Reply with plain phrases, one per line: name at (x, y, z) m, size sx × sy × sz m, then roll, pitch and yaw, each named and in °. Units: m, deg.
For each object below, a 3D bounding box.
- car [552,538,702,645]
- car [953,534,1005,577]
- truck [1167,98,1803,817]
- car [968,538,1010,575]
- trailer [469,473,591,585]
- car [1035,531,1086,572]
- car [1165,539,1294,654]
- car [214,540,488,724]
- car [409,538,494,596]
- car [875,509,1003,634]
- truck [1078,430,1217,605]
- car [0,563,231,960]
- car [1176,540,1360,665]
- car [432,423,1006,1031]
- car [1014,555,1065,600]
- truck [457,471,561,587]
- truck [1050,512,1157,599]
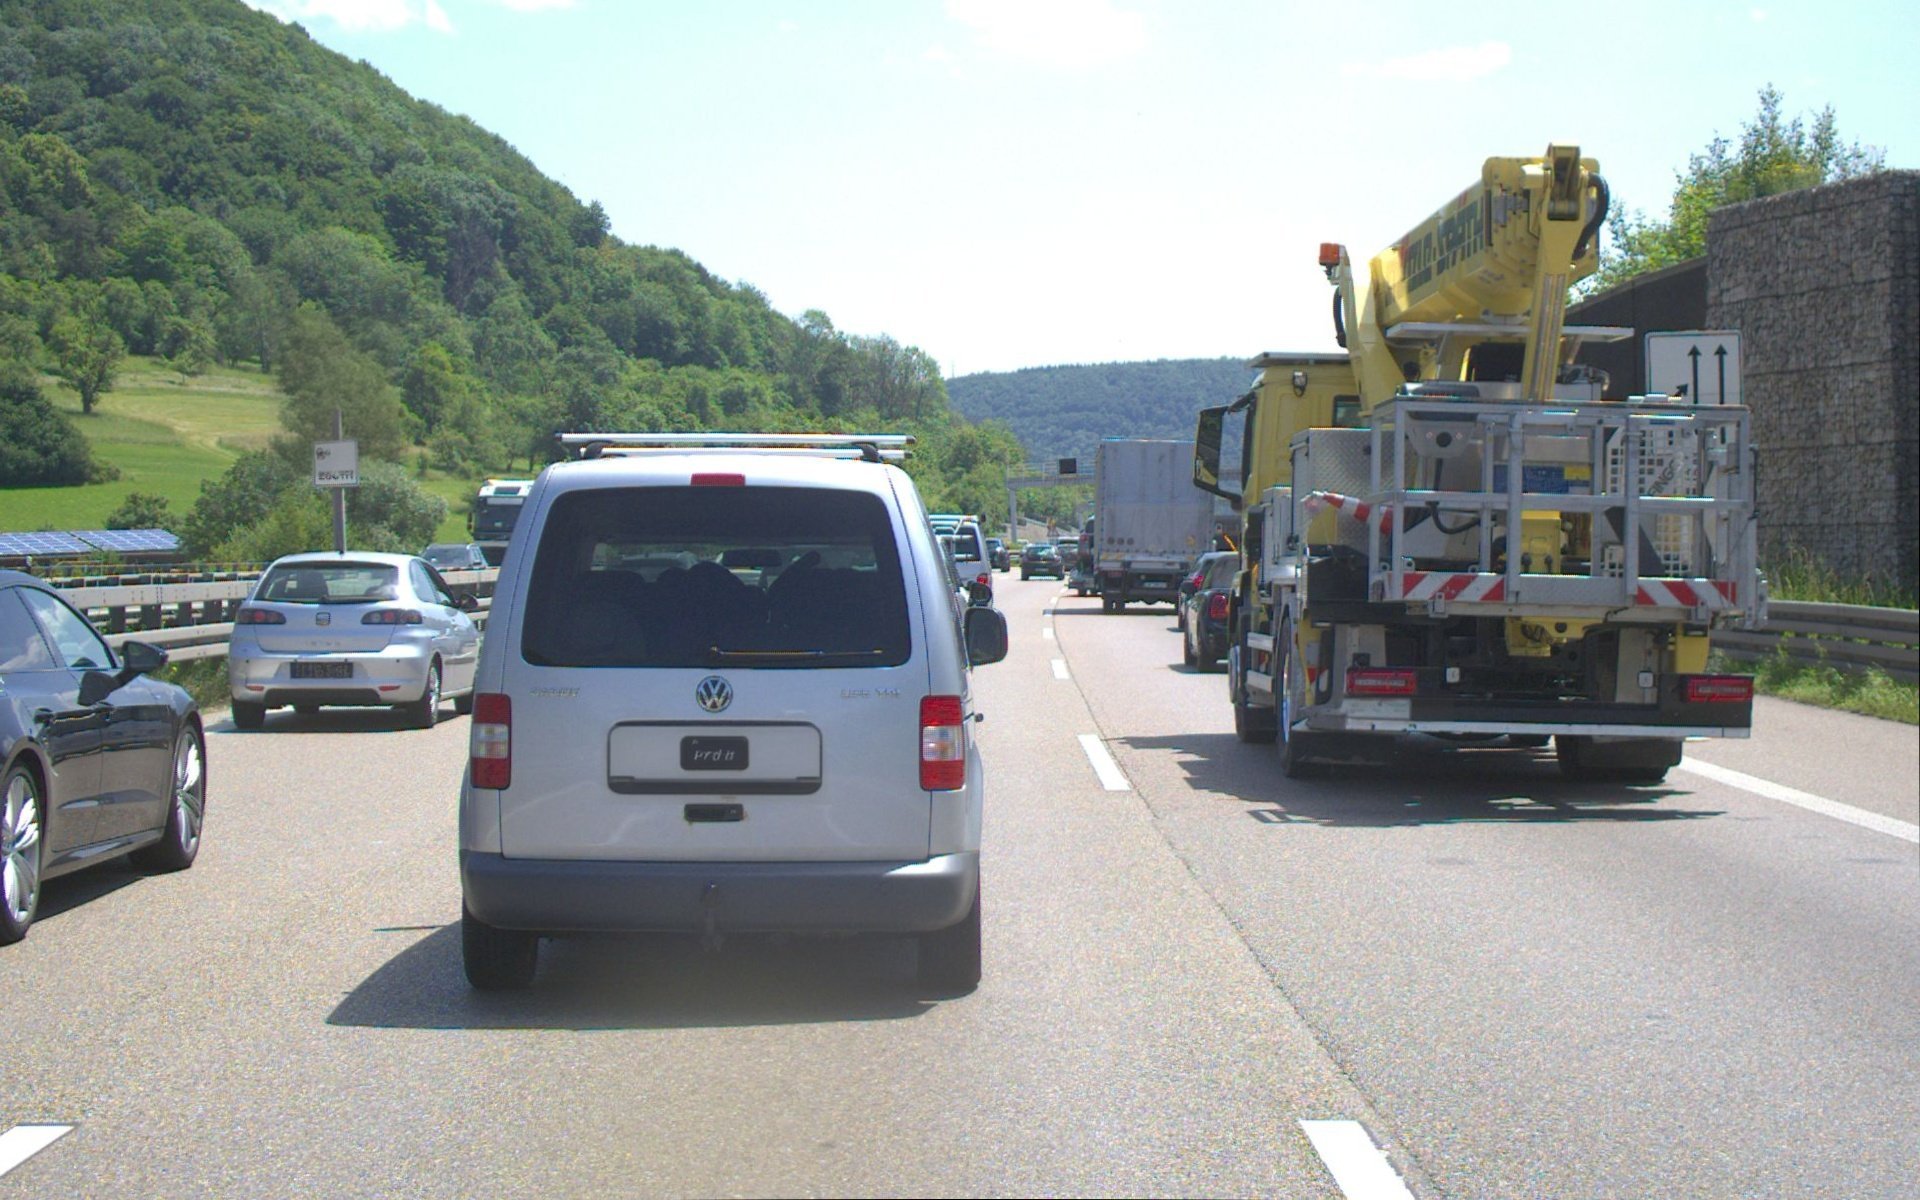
car at (-4.851, -0.154, 50.550) m, size 1.924 × 1.494 × 4.000 m, roll 1°, pitch 1°, yaw -2°
car at (0.823, -1.930, 150.739) m, size 2.114 × 1.821 × 4.000 m, roll 1°, pitch 0°, yaw -2°
truck at (3.145, -0.856, 23.212) m, size 2.703 × 3.929 × 8.723 m, roll 0°, pitch 1°, yaw -2°
car at (1.433, -2.140, 171.447) m, size 1.993 × 1.799 × 4.000 m, roll 1°, pitch 0°, yaw -1°
trailer at (-16.886, -2.739, 135.977) m, size 2.855 × 4.177 × 13.615 m, roll 1°, pitch 0°, yaw 1°
car at (4.654, -2.247, 160.108) m, size 2.114 × 1.821 × 4.000 m, roll 1°, pitch 0°, yaw -2°
car at (4.834, -0.099, 62.161) m, size 1.993 × 2.007 × 4.000 m, roll 0°, pitch 1°, yaw 0°
car at (-5.042, 0.218, 28.901) m, size 1.695 × 1.440 × 3.862 m, roll 0°, pitch 1°, yaw -1°
car at (-14.450, -0.952, 97.895) m, size 1.849 × 1.604 × 4.079 m, roll 0°, pitch 1°, yaw 0°
car at (-0.377, -0.481, 56.014) m, size 1.993 × 1.969 × 4.000 m, roll 0°, pitch 1°, yaw -2°
truck at (4.270, -1.853, 79.862) m, size 2.940 × 3.810 × 8.236 m, roll 1°, pitch 0°, yaw 2°
car at (-4.357, 0.561, 14.032) m, size 1.800 × 1.385 × 4.970 m, roll 0°, pitch 1°, yaw -1°
car at (3.703, -0.004, 41.860) m, size 1.786 × 1.453 × 3.771 m, roll 0°, pitch 1°, yaw -2°
car at (-0.799, 0.354, 12.557) m, size 1.756 × 1.861 × 4.000 m, roll 0°, pitch 1°, yaw -2°
car at (3.199, -0.901, 138.680) m, size 1.993 × 1.743 × 4.000 m, roll 1°, pitch 0°, yaw 1°
truck at (-17.019, -2.655, 130.092) m, size 2.798 × 4.217 × 7.231 m, roll 1°, pitch 0°, yaw 1°
truck at (4.322, -1.344, 102.618) m, size 2.391 × 2.532 × 5.937 m, roll 0°, pitch 1°, yaw 10°
